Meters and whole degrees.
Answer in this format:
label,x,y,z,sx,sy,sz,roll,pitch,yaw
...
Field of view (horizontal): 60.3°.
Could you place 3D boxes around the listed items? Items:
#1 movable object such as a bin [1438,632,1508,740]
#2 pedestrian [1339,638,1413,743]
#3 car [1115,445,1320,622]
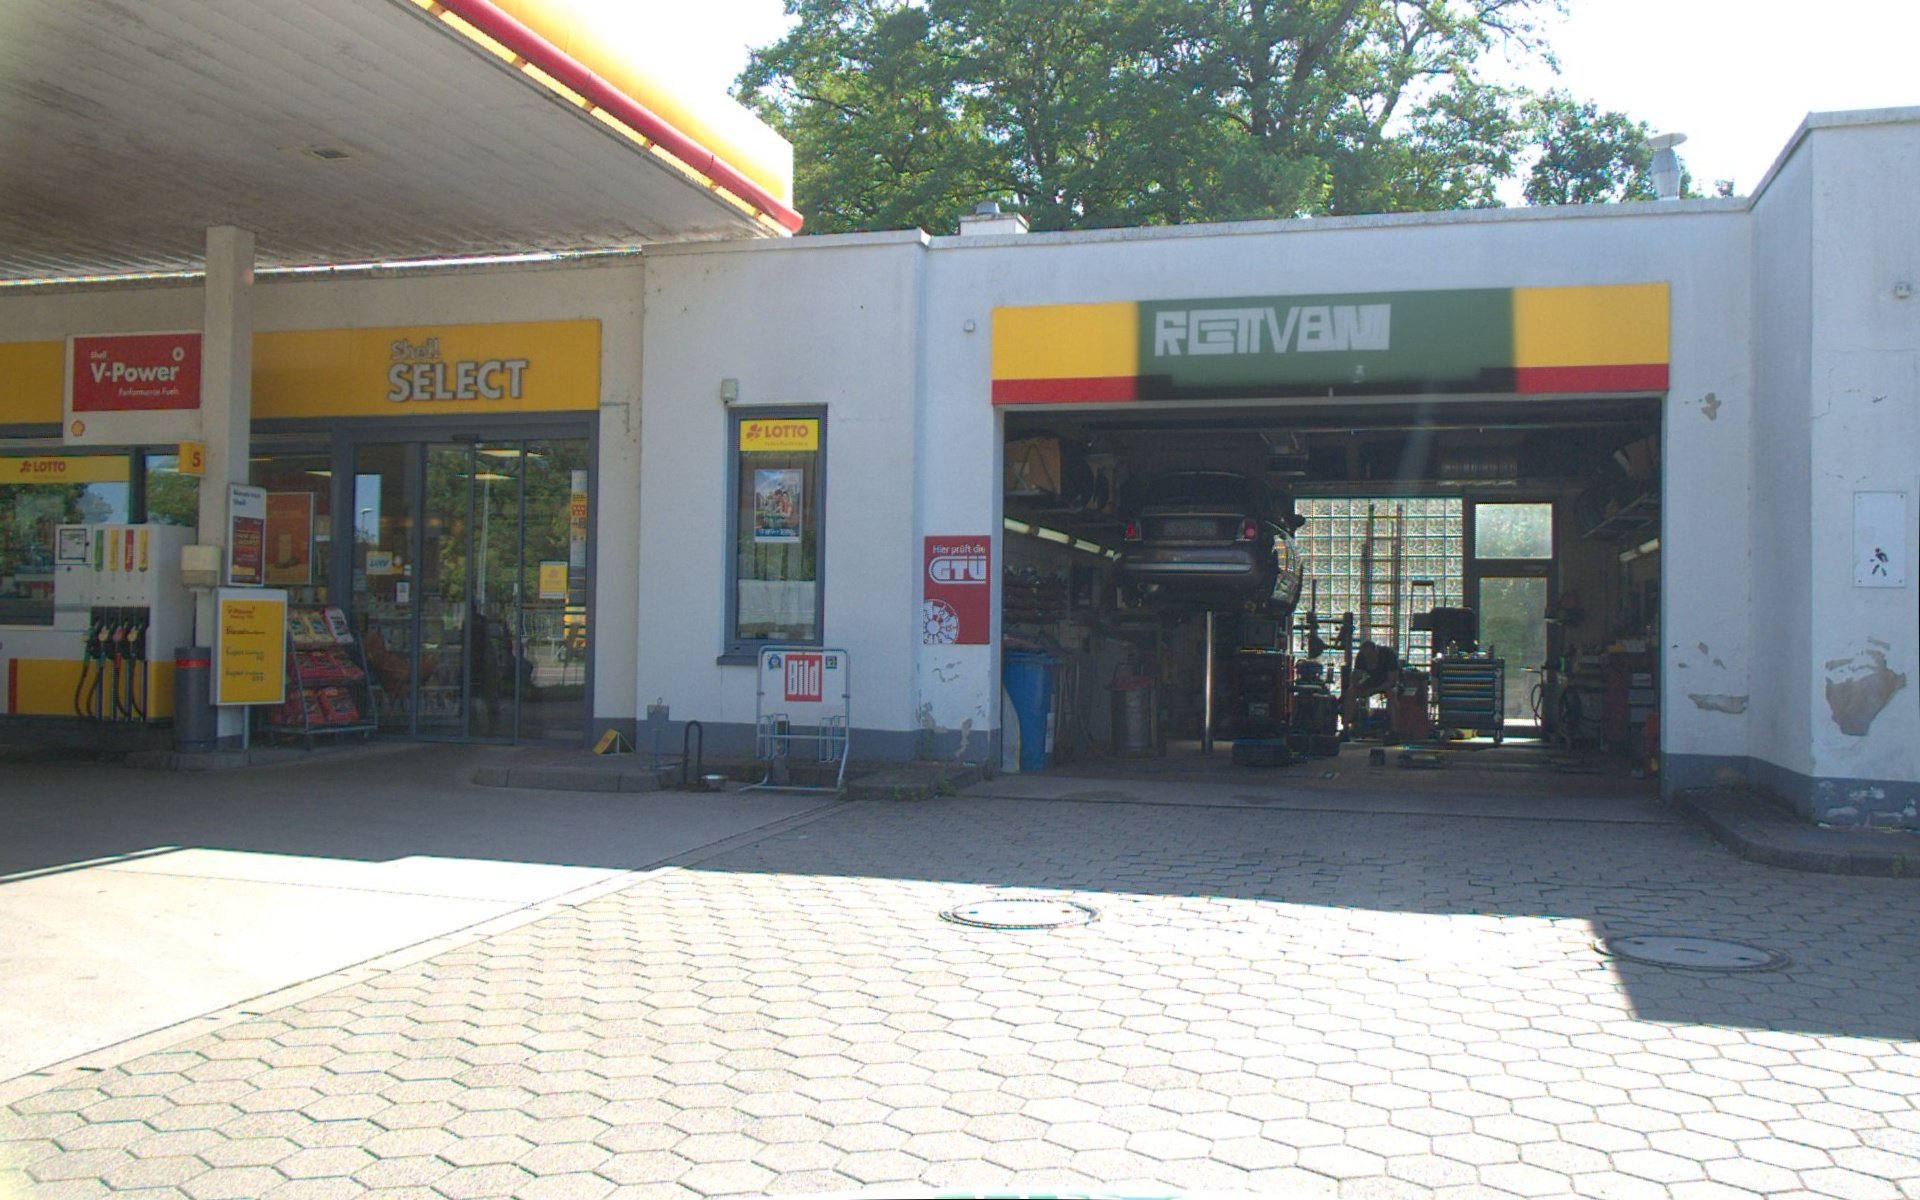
label,x,y,z,sx,sy,sz,roll,pitch,yaw
movable object such as a bin,6.114,1.024,19.718,0.780,1.258,0.544,0,-3,17
pedestrian,4.963,1.072,19.743,0.845,1.219,0.743,0,-3,14
car,2.874,-0.604,17.778,1.612,1.512,4.001,0,-3,17
